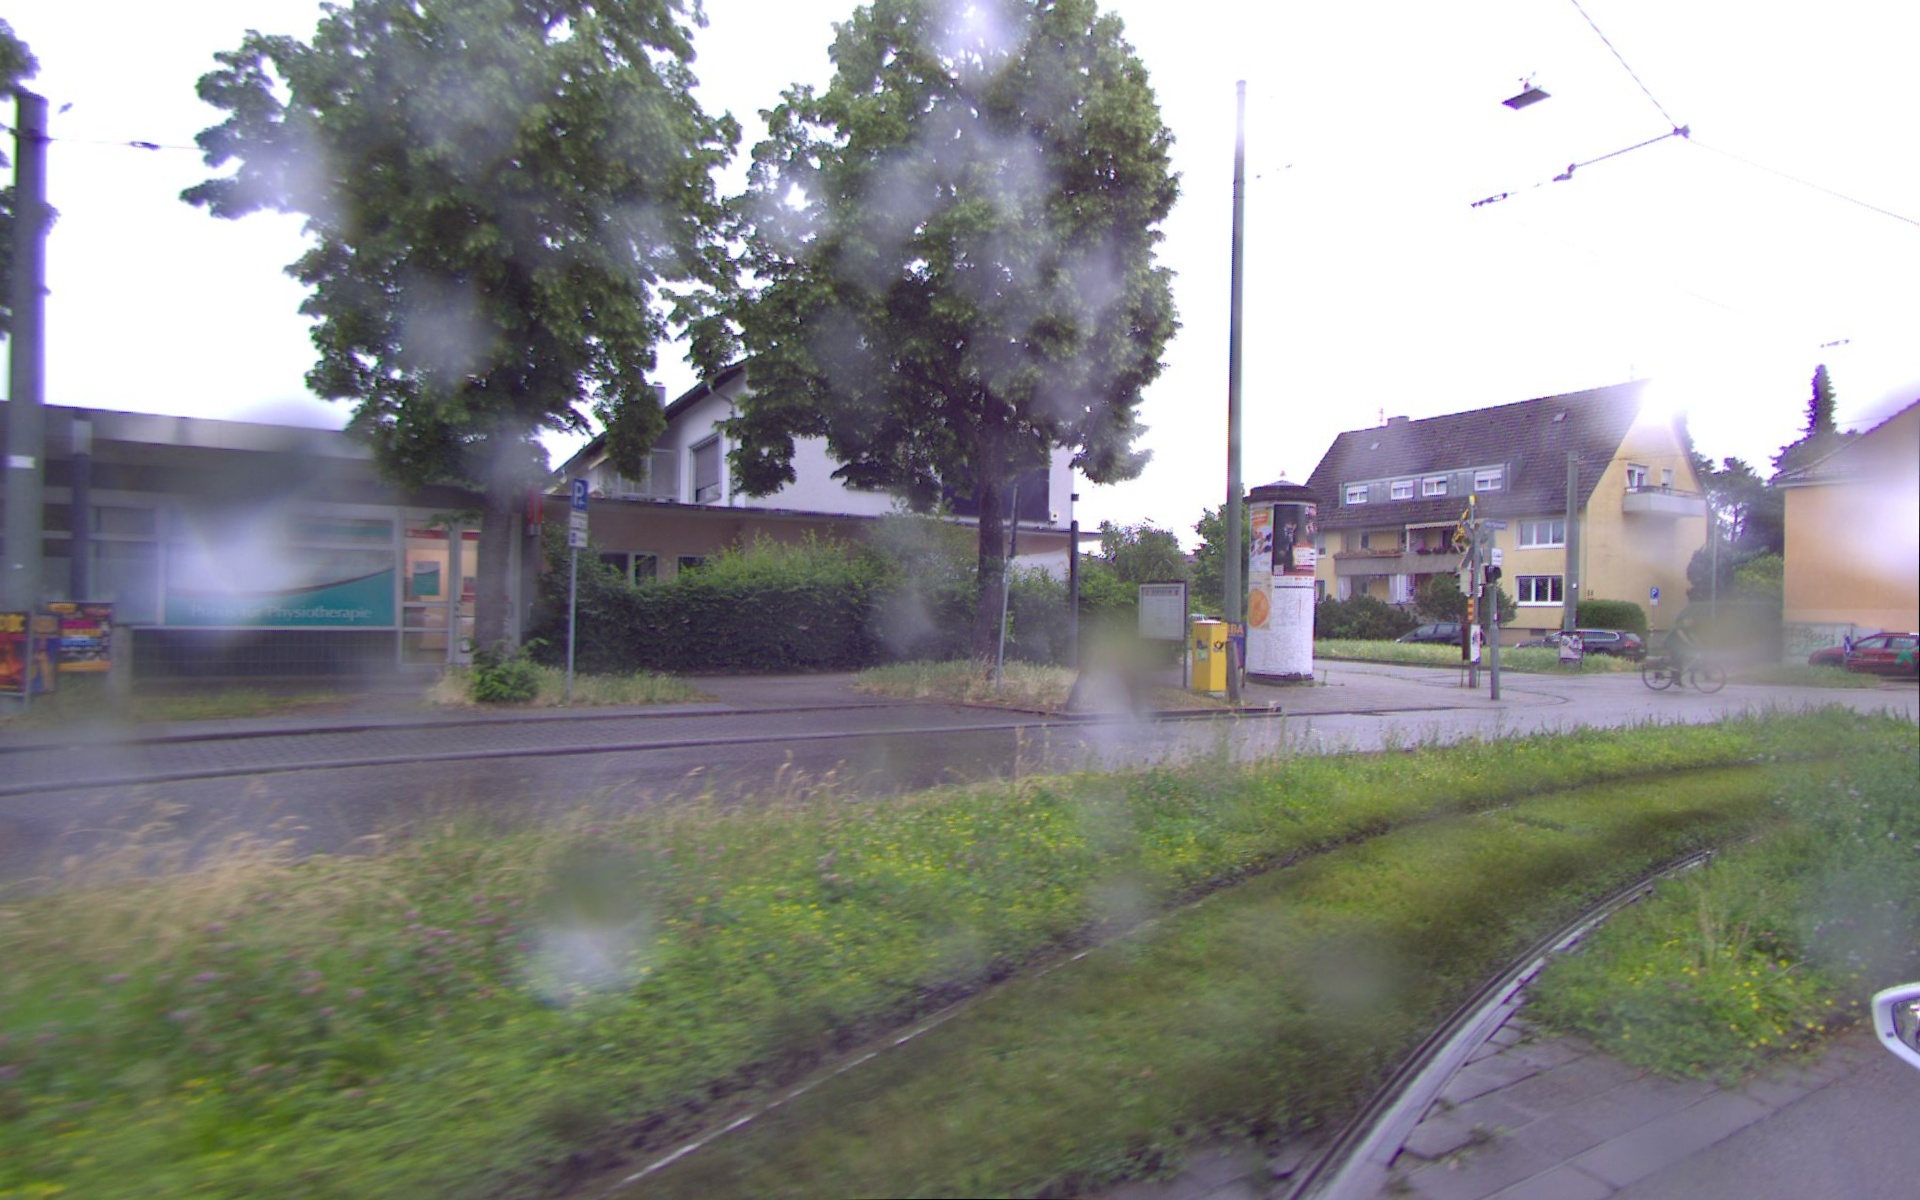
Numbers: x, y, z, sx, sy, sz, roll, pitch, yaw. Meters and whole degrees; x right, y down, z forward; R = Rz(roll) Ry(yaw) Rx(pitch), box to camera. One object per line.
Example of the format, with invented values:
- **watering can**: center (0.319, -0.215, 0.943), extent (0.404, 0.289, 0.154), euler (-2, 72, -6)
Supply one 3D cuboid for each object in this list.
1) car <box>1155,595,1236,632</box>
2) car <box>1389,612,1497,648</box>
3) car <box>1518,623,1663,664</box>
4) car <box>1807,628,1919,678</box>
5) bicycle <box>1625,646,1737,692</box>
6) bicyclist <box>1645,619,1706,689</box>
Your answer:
- **car**: center (12.944, 0.734, 55.441), extent (1.982, 1.818, 3.956), euler (1, 2, -37)
- **car**: center (21.328, 1.311, 44.511), extent (1.741, 1.350, 3.962), euler (1, 1, -33)
- **car**: center (24.727, 1.681, 39.551), extent (1.946, 1.414, 4.465), euler (1, 0, -32)
- **car**: center (29.656, 1.684, 32.123), extent (1.704, 1.357, 3.583), euler (1, 1, -33)
- **bicycle**: center (16.948, 1.603, 23.664), extent (0.815, 0.924, 1.967), euler (2, 0, -33)
- **bicyclist**: center (16.919, 1.271, 23.747), extent (0.825, 1.579, 0.905), euler (2, 0, -33)
